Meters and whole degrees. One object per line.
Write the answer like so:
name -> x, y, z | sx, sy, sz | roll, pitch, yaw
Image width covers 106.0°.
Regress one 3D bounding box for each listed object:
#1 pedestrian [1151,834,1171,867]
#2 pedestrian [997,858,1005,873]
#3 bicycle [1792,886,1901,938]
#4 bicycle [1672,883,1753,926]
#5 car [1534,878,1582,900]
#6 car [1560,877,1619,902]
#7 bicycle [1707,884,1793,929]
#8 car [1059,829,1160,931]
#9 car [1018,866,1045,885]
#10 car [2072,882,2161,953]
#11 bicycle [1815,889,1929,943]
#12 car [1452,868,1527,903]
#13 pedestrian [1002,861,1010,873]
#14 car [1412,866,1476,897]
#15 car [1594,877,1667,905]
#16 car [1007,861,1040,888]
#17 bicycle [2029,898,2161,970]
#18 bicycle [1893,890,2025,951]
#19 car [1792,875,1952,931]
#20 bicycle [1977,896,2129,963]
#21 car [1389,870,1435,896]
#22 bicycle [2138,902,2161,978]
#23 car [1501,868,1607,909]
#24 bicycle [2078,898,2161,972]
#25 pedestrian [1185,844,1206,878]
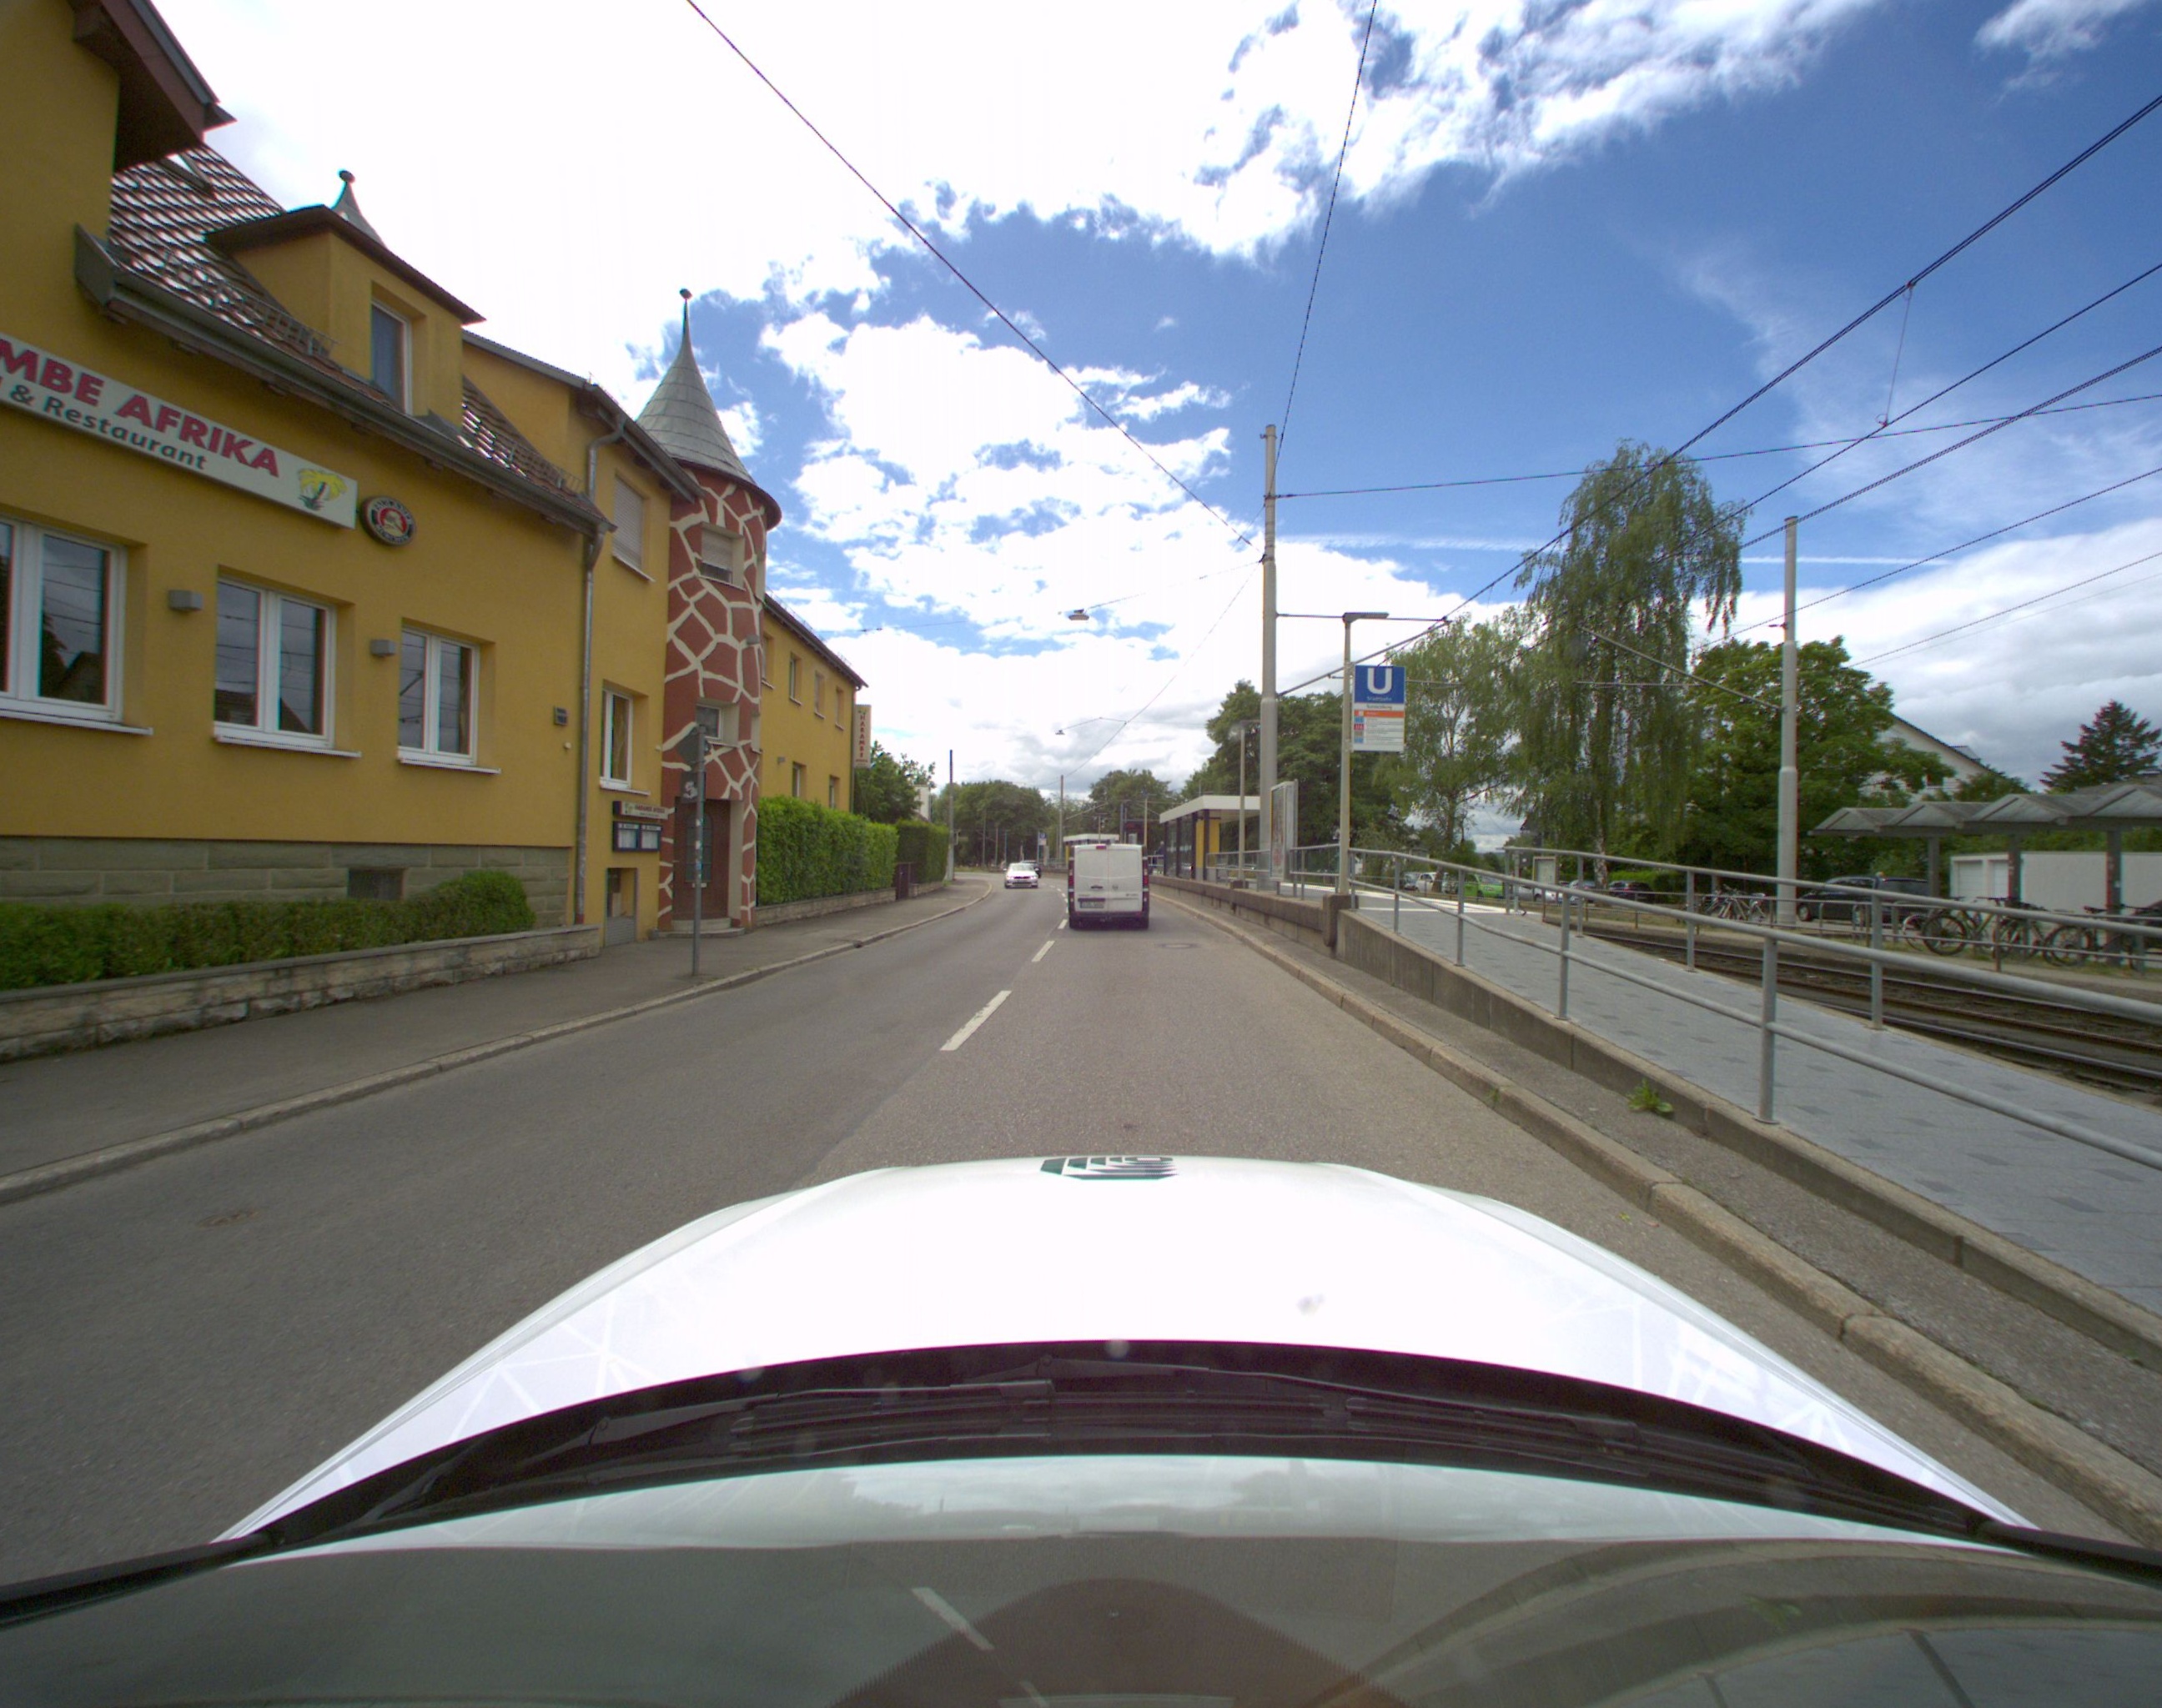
pedestrian -> 4.177, -0.165, 42.673 | 0.884, 1.671, 0.908 | 1, -1, -3
pedestrian -> -9.830, 1.434, 99.965 | 0.764, 1.795, 0.624 | 1, -1, -38
bicycle -> 16.724, 1.259, 17.811 | 1.756, 1.042, 0.558 | 1, -1, 6
bicycle -> 16.384, 1.303, 21.139 | 1.761, 1.042, 0.556 | 1, -1, -5
car -> 33.432, 2.430, 57.170 | 1.745, 1.488, 3.912 | 0, -2, 11
car -> 32.178, 2.244, 51.659 | 1.744, 1.488, 4.713 | 0, -2, 13
bicycle -> 16.741, 1.307, 20.383 | 1.761, 1.042, 0.556 | 1, -1, -3
car -> 0.759, 0.599, 20.250 | 2.108, 2.134, 5.444 | 2, -1, 3
car -> -4.582, 1.970, 74.495 | 2.351, 1.564, 4.365 | 2, -1, -5
car -> 24.199, 1.410, 17.201 | 1.803, 1.486, 4.437 | 1, -1, 12
bicycle -> 16.628, 1.292, 17.143 | 1.756, 1.042, 0.558 | 1, -1, 6
car -> 20.058, 1.510, 40.183 | 1.724, 1.574, 4.000 | 1, -1, 0
pedestrian -> -9.096, 1.568, 98.541 | 0.764, 1.492, 0.624 | 1, -1, -38
car -> 20.081, 1.501, 45.211 | 1.750, 1.574, 4.099 | 1, -1, 0
car -> 30.853, 2.044, 45.924 | 1.744, 1.488, 4.946 | 0, -2, 13
car -> -3.319, 1.173, 47.467 | 1.815, 1.419, 4.457 | -1, -1, -3
bicycle -> 16.216, 1.249, 12.836 | 1.756, 1.042, 0.558 | 1, -1, 6
bicycle -> 16.484, 1.236, 15.312 | 1.756, 1.042, 0.558 | 1, -1, 6
car -> 26.599, 1.581, 27.641 | 1.802, 1.636, 4.859 | 1, -1, 16
bicycle -> 16.358, 1.257, 13.728 | 1.756, 1.042, 0.558 | 1, -1, 6
car -> 20.329, 1.752, 50.250 | 1.828, 1.488, 4.515 | 1, -1, 11
bicycle -> 15.960, 1.229, 11.282 | 1.756, 1.042, 0.558 | 1, -1, 6
car -> 20.020, 1.407, 34.710 | 2.056, 1.574, 4.260 | 1, -1, 0
bicycle -> 16.134, 1.214, 12.128 | 1.756, 1.042, 0.558 | 1, -1, 6
pedestrian -> 4.337, 0.267, 30.905 | 0.619, 1.299, 0.718 | 1, -1, -5
